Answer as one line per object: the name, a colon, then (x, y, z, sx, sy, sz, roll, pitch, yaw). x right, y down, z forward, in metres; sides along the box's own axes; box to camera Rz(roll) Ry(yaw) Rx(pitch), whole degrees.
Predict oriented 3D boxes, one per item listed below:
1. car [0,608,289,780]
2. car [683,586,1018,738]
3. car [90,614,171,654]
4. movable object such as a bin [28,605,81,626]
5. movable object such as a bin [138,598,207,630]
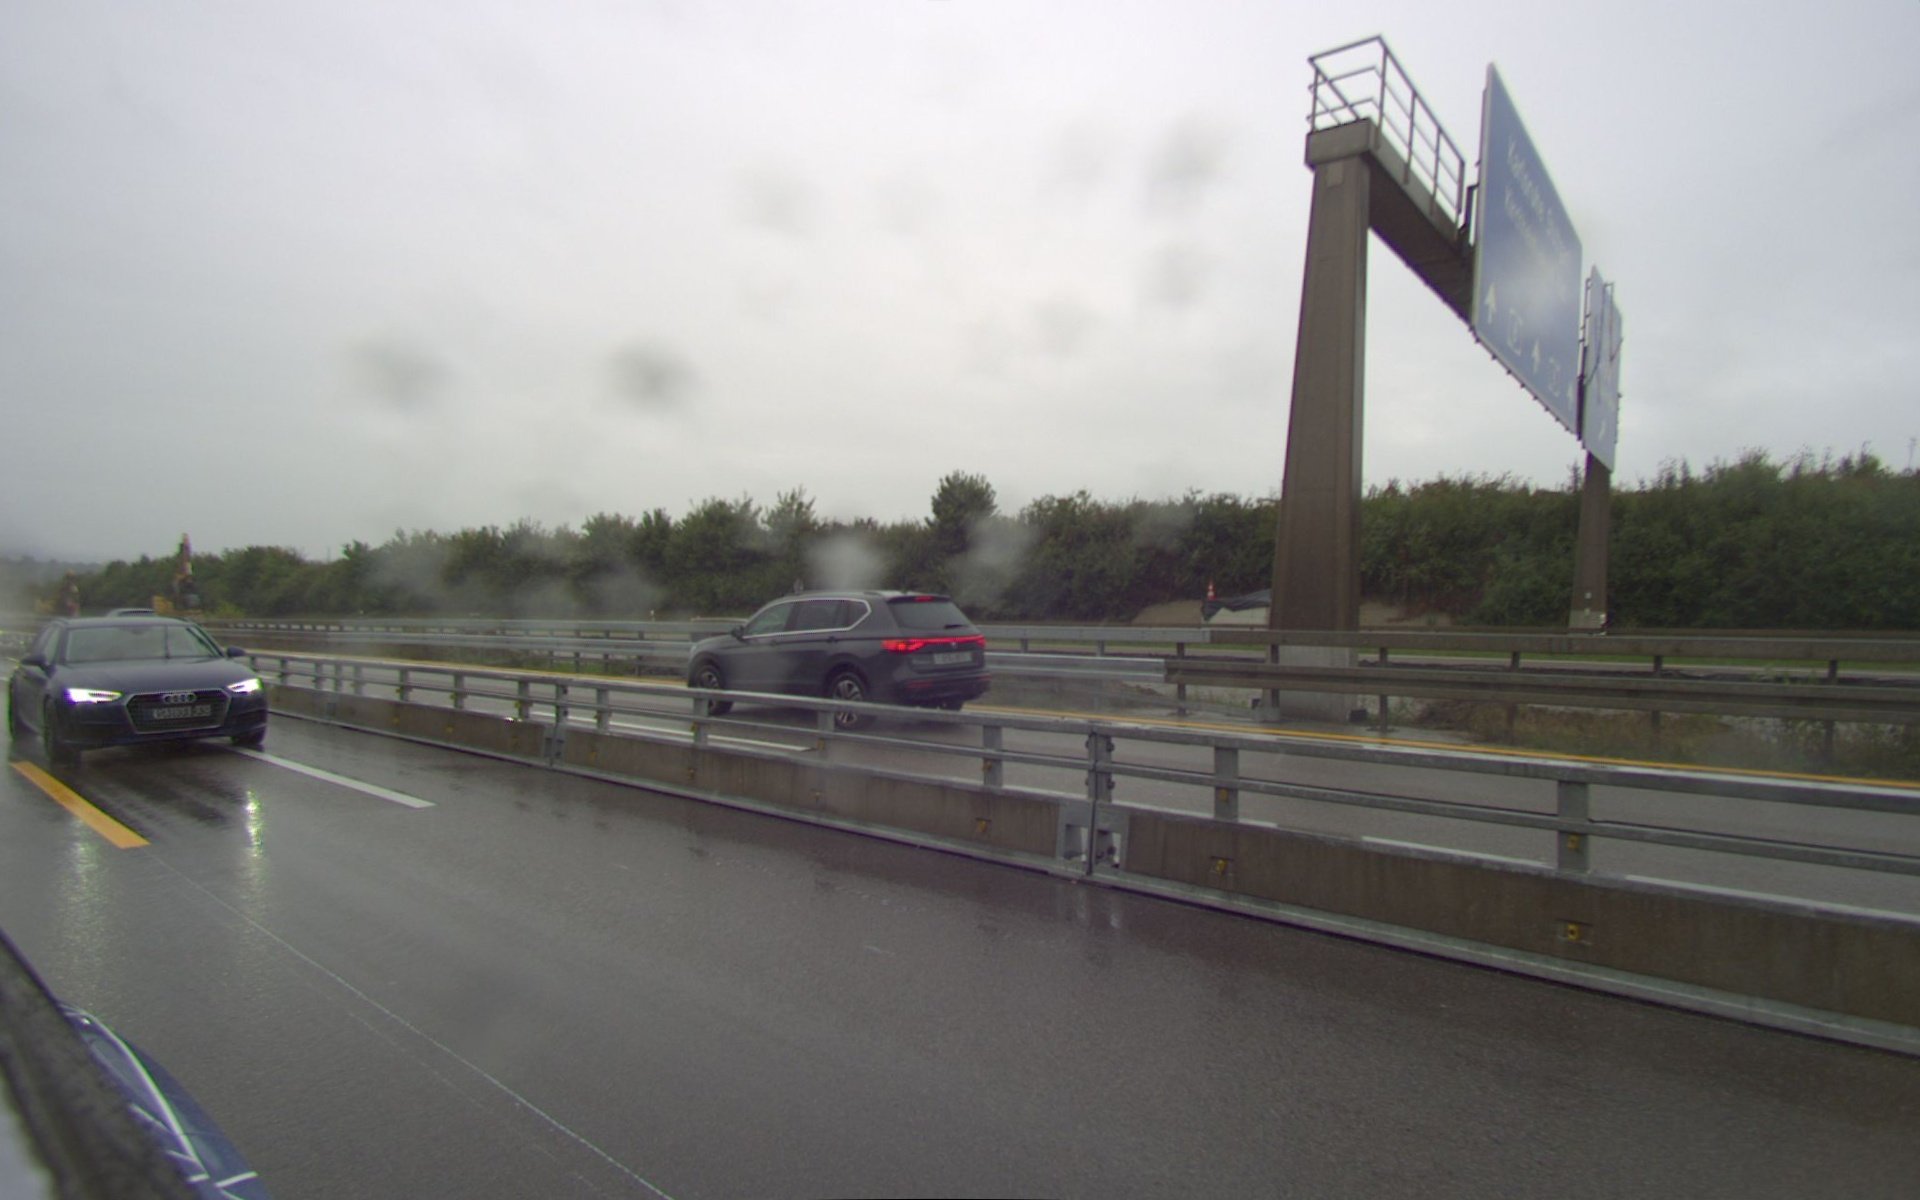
car: (-9.377, 0.872, 11.402, 4.630, 1.509, 1.972, -1, 0, 42)
car: (-1.512, 0.674, 12.901, 4.313, 1.616, 1.761, -1, 0, 40)
car: (-33.835, 1.341, 41.242, 4.127, 1.514, 1.828, -1, 0, 40)
movable object such as a bin: (-105.928, 1.777, 118.450, 5.085, 2.312, 3.411, -1, 0, 33)
movable object such as a bin: (-72.866, 1.240, 93.624, 6.324, 2.819, 3.728, -1, 0, 40)
